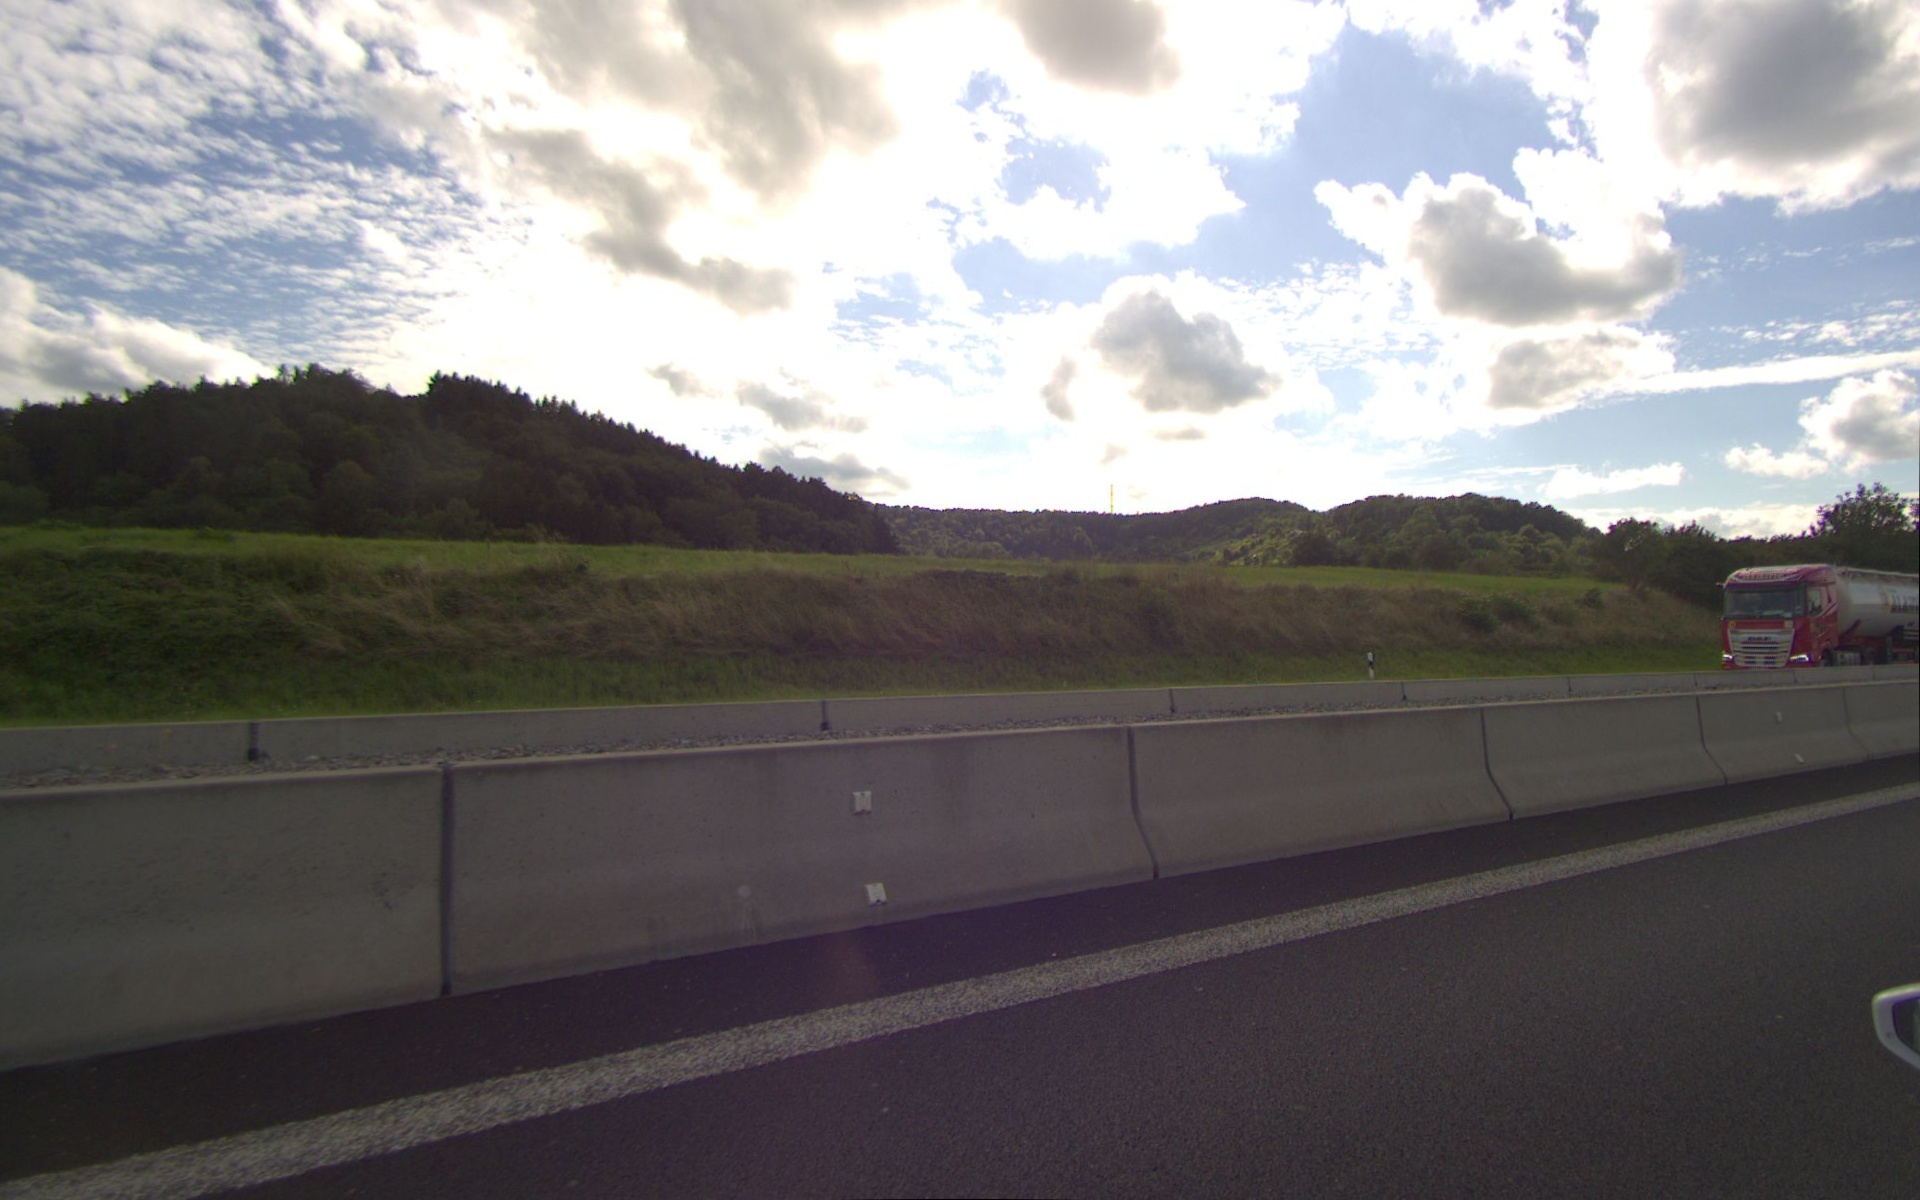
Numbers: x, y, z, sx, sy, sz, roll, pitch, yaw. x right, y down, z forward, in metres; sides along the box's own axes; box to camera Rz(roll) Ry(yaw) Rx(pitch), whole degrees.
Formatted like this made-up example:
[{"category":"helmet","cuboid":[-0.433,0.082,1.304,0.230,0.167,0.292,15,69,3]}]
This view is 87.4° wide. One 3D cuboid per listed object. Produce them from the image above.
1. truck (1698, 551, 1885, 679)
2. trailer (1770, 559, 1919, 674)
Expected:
[{"category":"truck","cuboid":[28.390,0.585,34.247,6.820,3.976,2.725,1,-2,-30]},{"category":"trailer","cuboid":[34.839,0.733,38.091,11.030,3.938,2.701,2,-2,-31]}]
